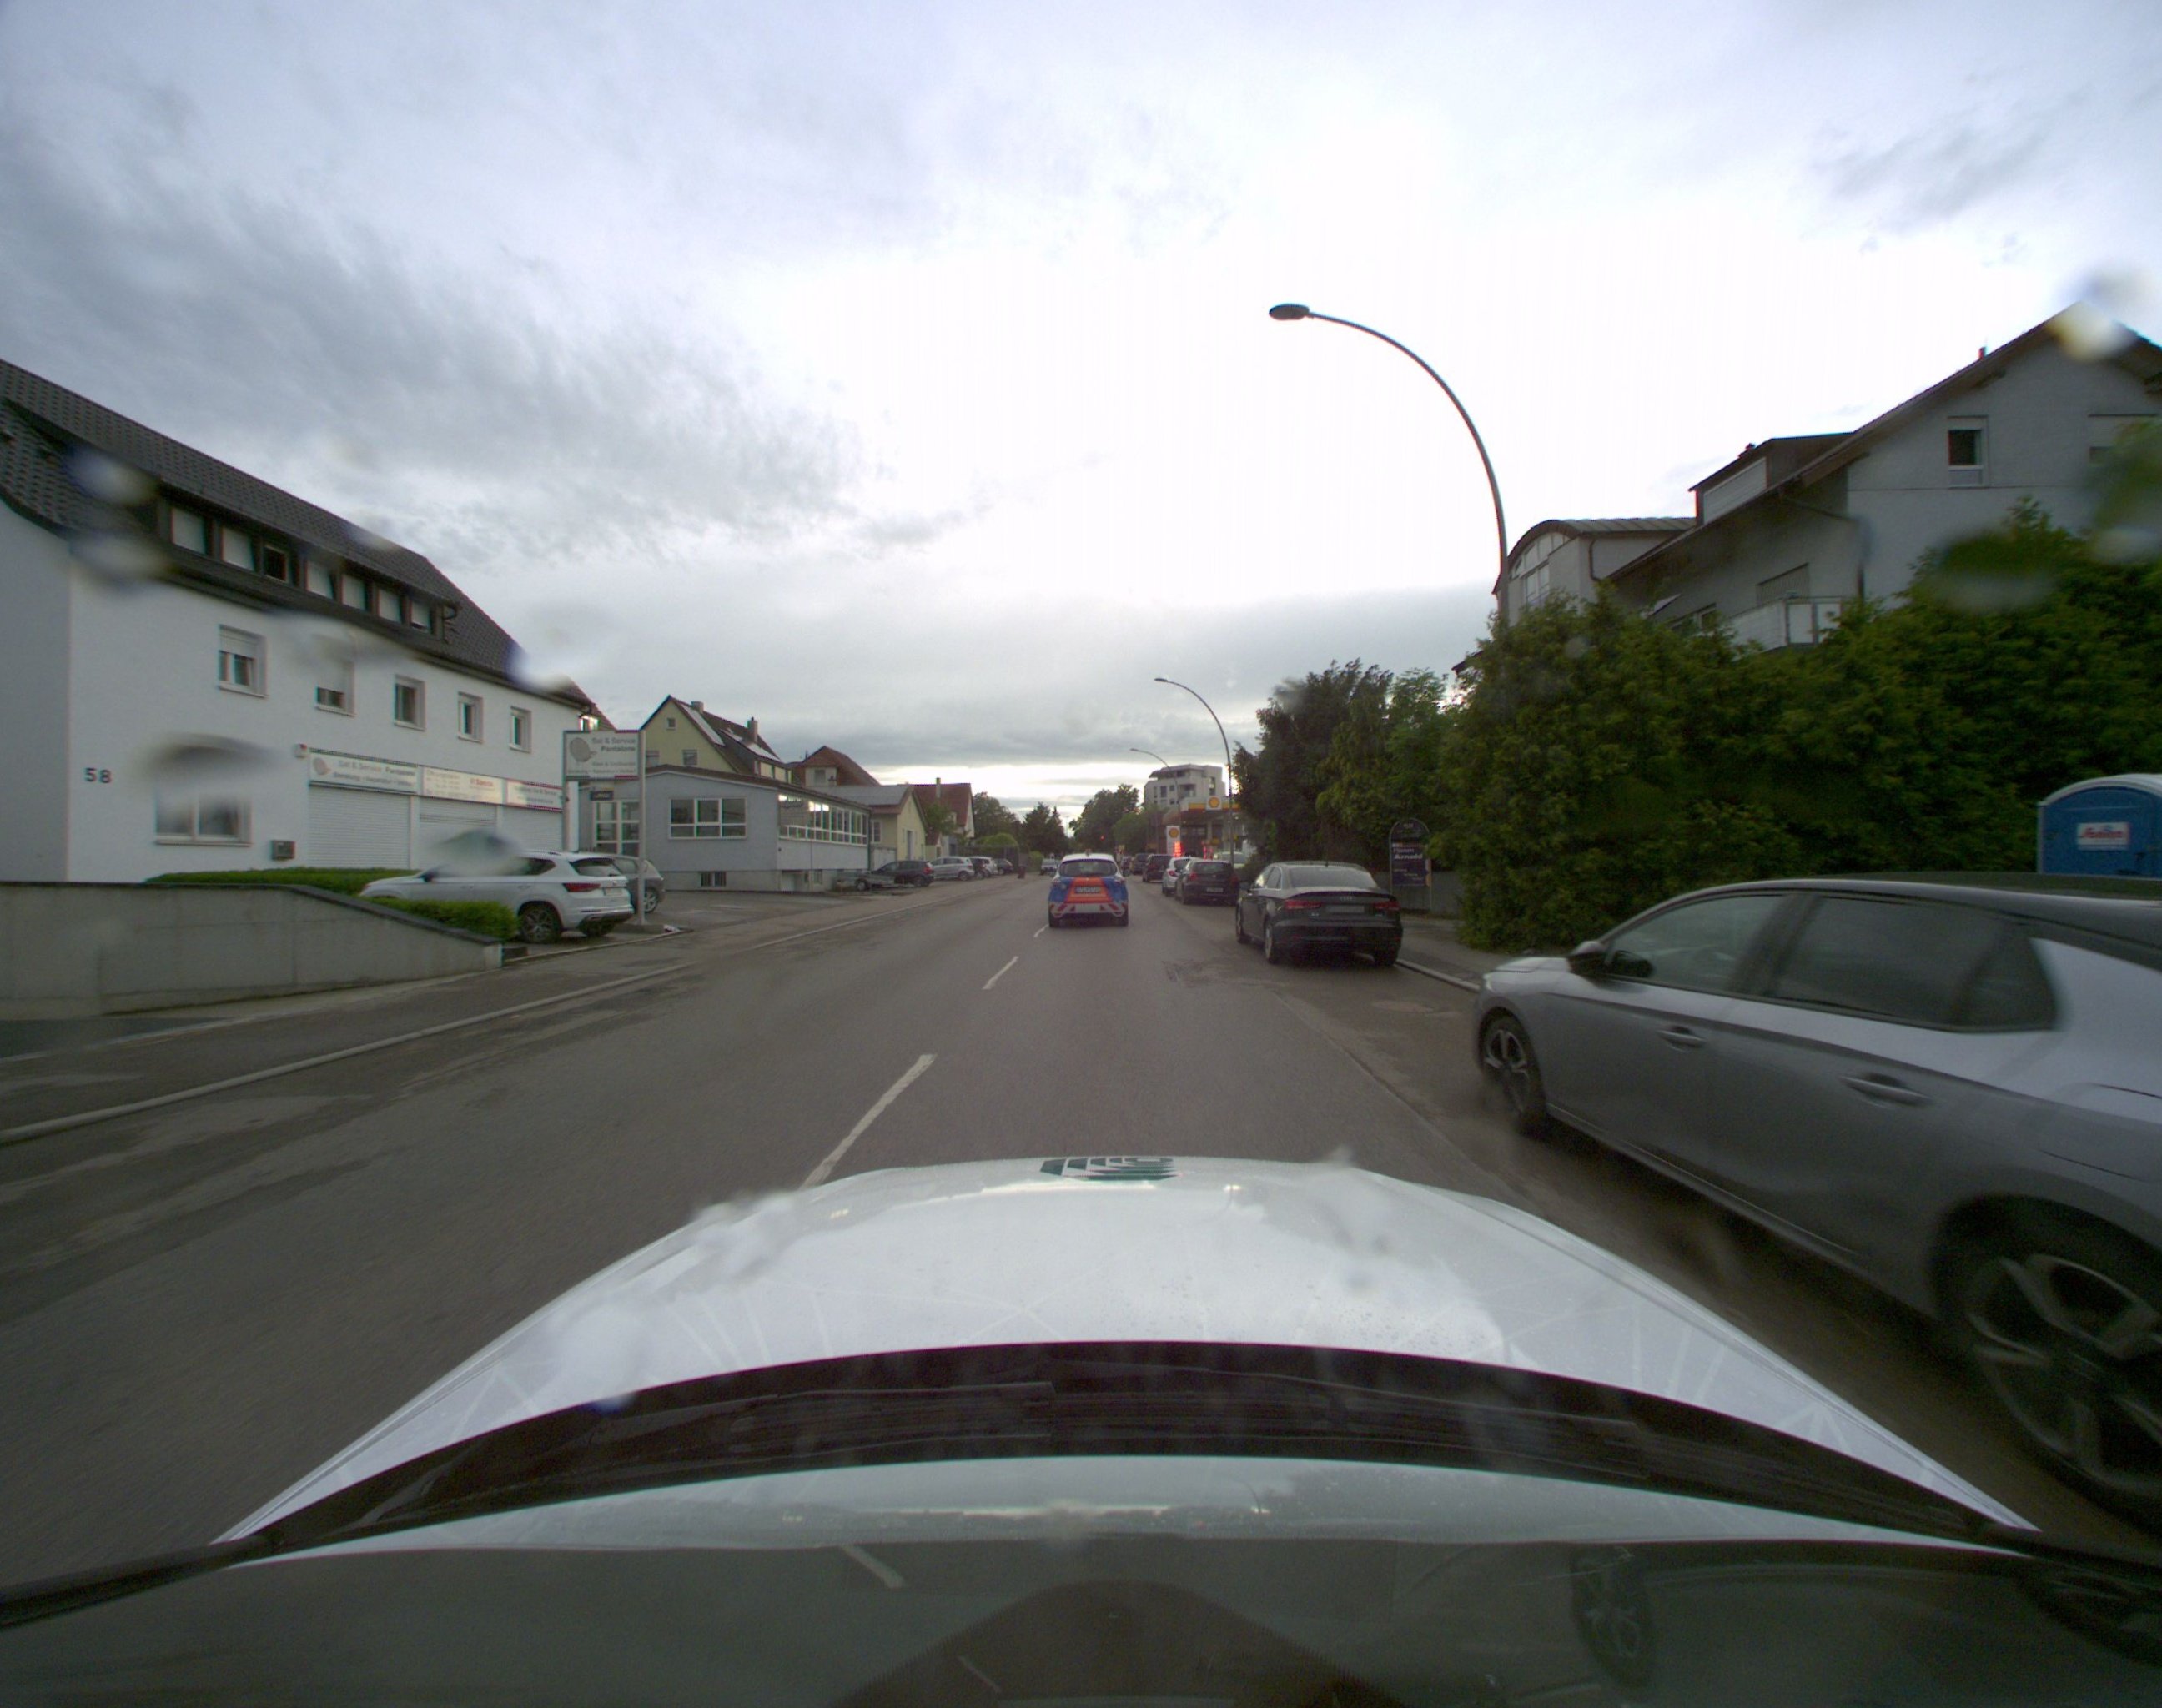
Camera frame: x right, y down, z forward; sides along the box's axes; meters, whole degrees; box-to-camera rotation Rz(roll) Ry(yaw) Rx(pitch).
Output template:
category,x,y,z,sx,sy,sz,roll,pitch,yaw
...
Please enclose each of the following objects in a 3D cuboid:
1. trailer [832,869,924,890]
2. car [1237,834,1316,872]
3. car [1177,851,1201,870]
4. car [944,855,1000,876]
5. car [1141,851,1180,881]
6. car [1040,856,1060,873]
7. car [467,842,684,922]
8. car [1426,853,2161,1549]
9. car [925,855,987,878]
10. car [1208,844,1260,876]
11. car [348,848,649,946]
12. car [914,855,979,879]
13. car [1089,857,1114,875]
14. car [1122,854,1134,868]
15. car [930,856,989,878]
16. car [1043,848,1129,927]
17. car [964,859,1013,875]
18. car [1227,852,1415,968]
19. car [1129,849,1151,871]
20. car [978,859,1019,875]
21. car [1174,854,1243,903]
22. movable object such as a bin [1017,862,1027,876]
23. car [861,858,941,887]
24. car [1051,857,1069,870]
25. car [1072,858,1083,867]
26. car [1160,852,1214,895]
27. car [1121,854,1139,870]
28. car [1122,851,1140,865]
category,x,y,z,sx,sy,sz,roll,pitch,yaw
trailer,-10.276,1.273,41.444,4.184,0.943,1.794,-1,0,-1
car,13.473,-0.064,56.181,4.805,2.520,2.232,-1,0,-20
car,10.766,0.649,81.433,1.814,1.759,3.998,-1,0,-1
car,-8.377,0.841,62.805,4.076,1.513,1.880,-1,0,-5
car,4.572,0.659,47.231,1.986,1.596,4.002,-2,0,2
car,-2.986,1.026,79.502,1.602,1.506,3.709,-2,0,2
car,-11.578,0.616,19.014,1.806,1.530,4.017,4,0,16
car,3.109,0.741,3.318,1.647,1.440,4.042,-2,0,0
car,-8.704,0.867,56.968,4.074,1.532,1.812,-1,0,-3
car,8.540,0.326,45.670,1.989,1.683,3.996,-1,0,-3
car,-10.366,0.720,14.765,3.975,1.647,1.999,0,0,-1
car,-8.984,0.850,54.586,4.076,1.532,1.997,-1,0,-4
car,1.960,1.079,75.314,1.983,1.574,4.007,0,0,6
car,7.392,1.089,128.274,1.769,2.029,4.759,0,0,4
car,-8.752,0.947,58.913,4.076,1.503,1.754,-1,0,-5
car,0.167,0.681,18.763,1.739,1.581,4.002,-2,0,2
car,-8.055,1.136,70.852,4.073,1.414,1.713,0,0,-2
car,3.426,0.710,12.434,1.745,1.418,4.112,-2,0,2
car,4.964,0.489,69.076,1.650,1.738,4.445,1,0,1
car,-7.462,1.183,73.706,3.577,1.457,1.755,1,-1,-3
car,3.980,0.734,25.922,1.731,1.403,3.720,1,0,2
movable object such as a bin,-4.685,1.200,64.765,0.593,1.057,0.687,4,1,2
car,-9.685,0.967,44.037,3.860,1.438,1.768,-2,0,0
car,-2.497,1.134,97.697,1.800,1.403,3.946,-2,0,2
car,-0.621,1.530,144.430,1.619,1.433,3.687,-1,-1,4
car,3.979,0.685,31.049,1.730,1.502,3.885,1,0,3
car,4.760,0.771,79.244,1.650,1.402,3.802,-1,0,1
car,6.139,0.439,100.535,2.083,1.662,4.561,0,0,2
